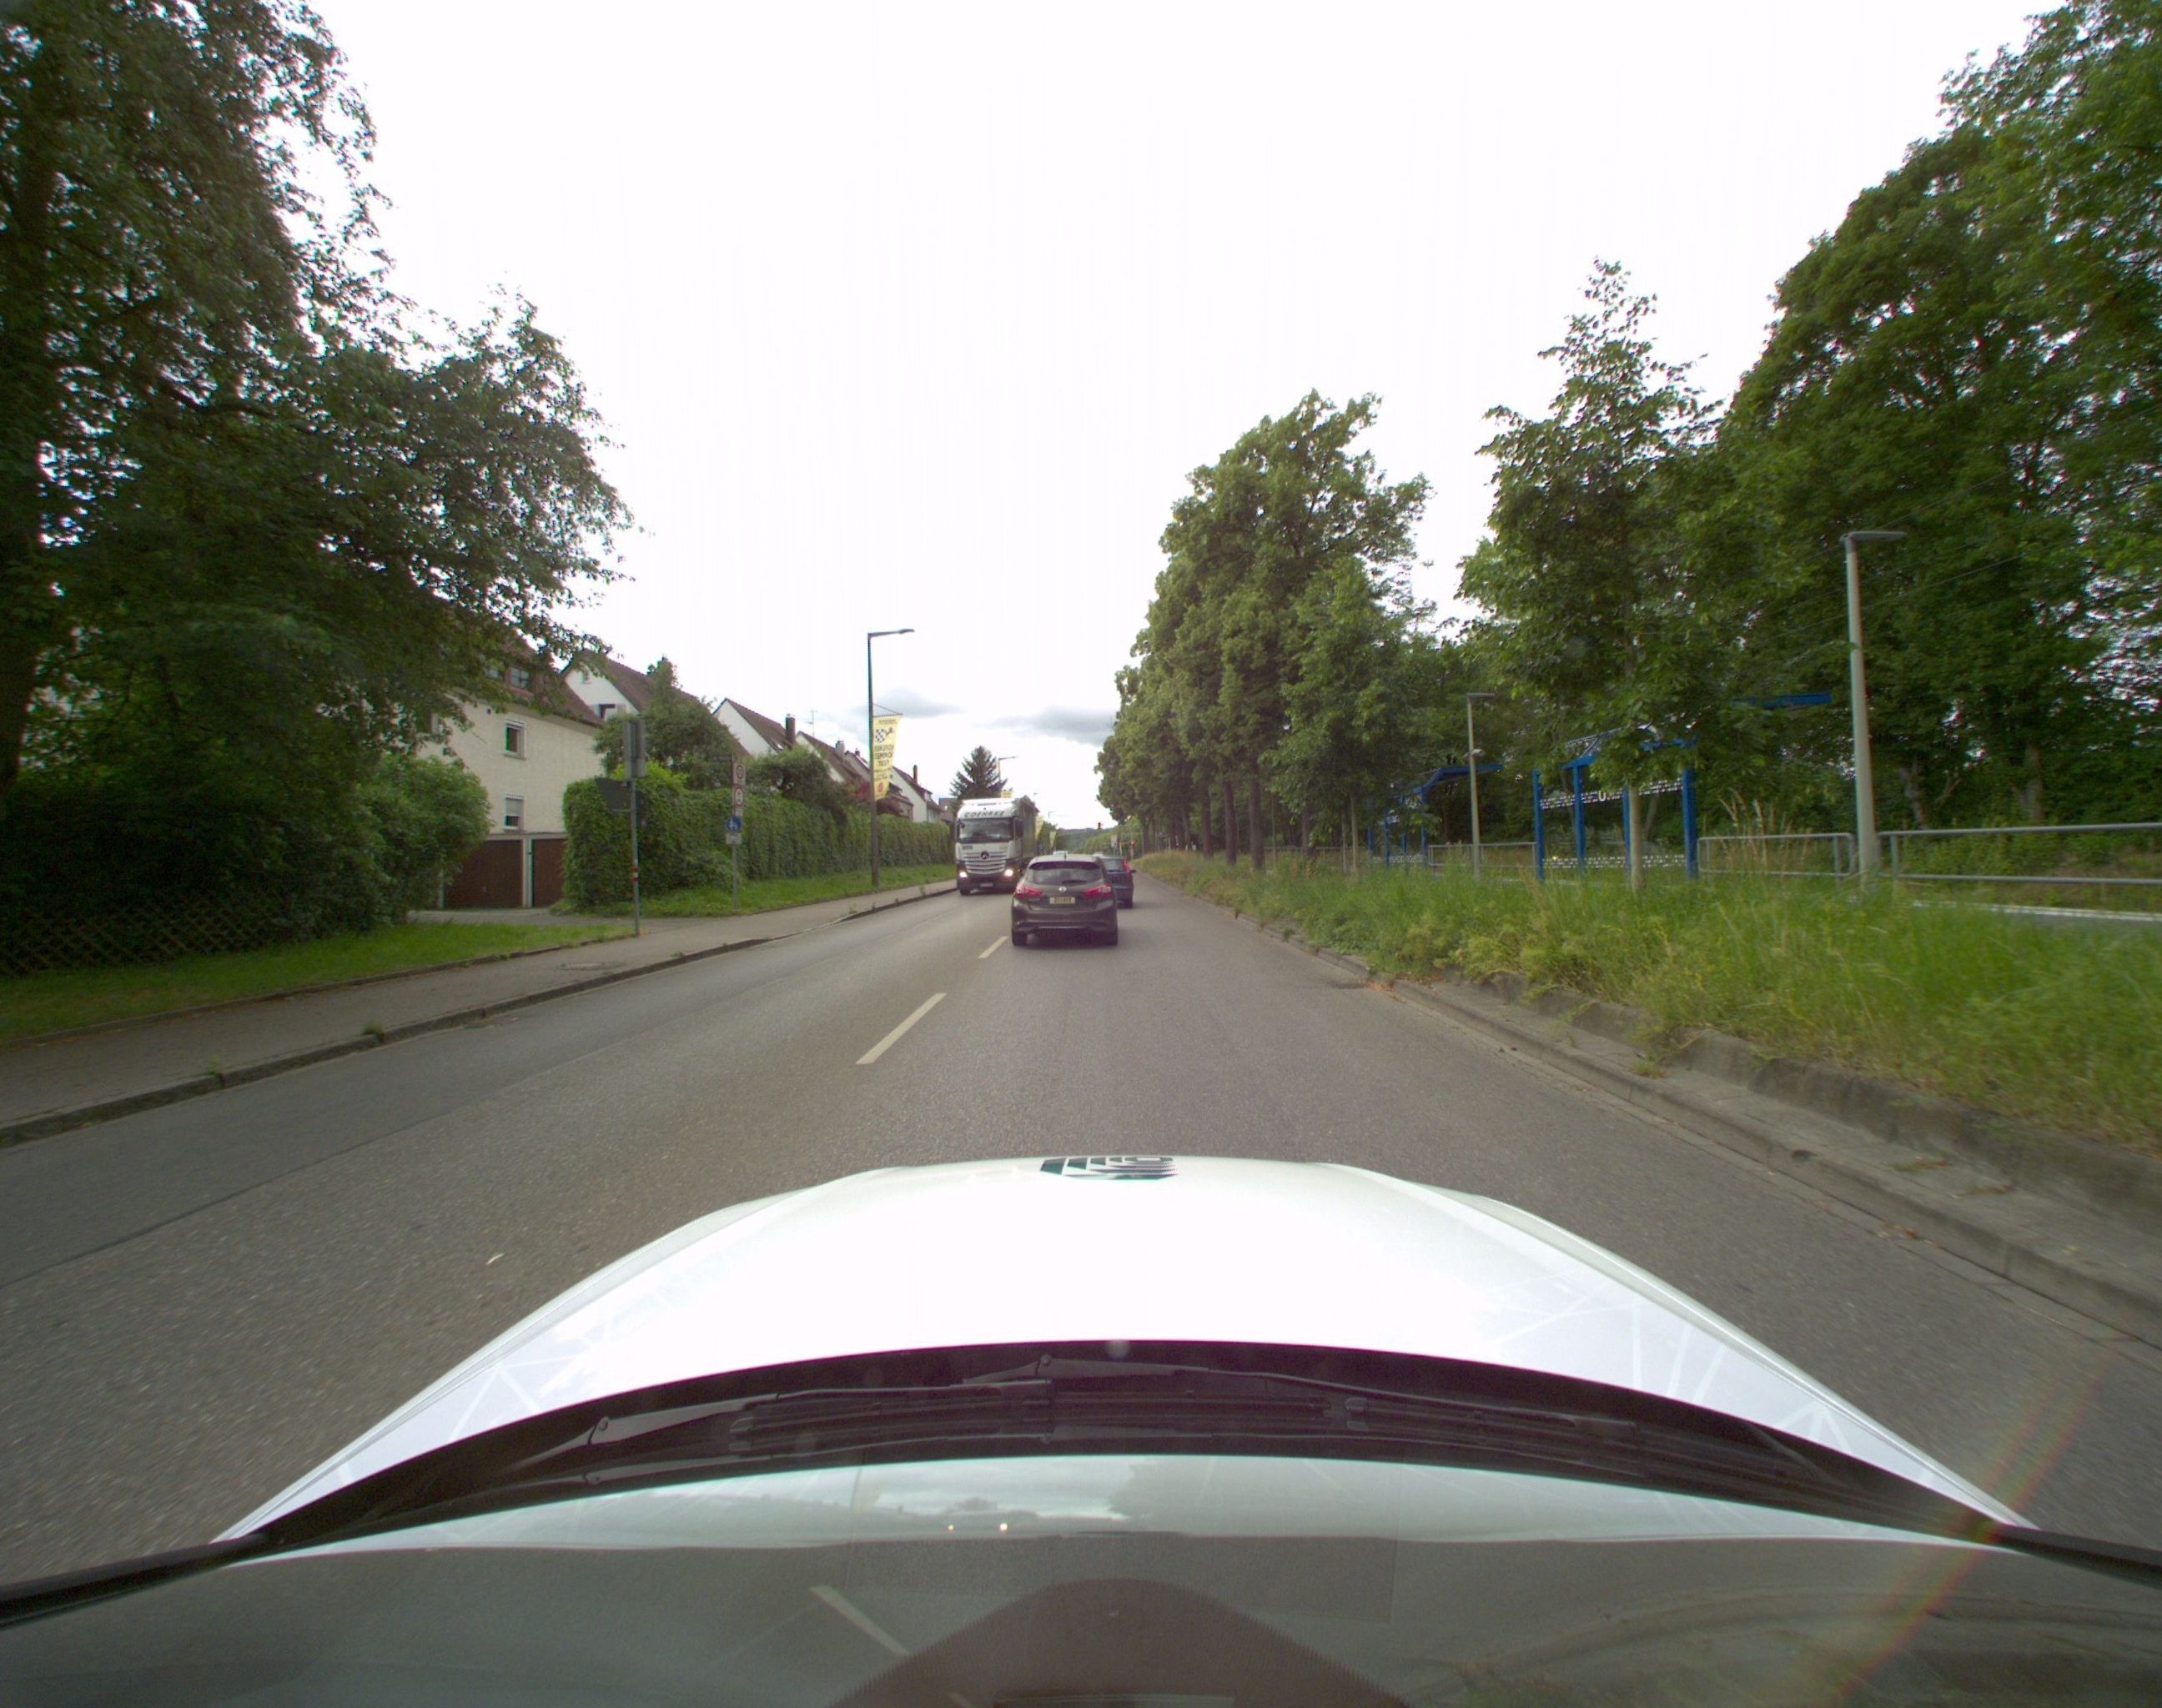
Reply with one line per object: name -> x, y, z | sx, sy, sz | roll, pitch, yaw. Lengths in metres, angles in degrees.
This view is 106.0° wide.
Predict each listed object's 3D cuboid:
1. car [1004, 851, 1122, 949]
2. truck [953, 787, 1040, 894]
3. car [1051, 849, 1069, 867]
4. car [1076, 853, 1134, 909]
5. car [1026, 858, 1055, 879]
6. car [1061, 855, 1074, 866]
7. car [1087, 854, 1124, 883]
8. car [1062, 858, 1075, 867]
car -> -0.227, 0.728, 15.126 | 1.828, 1.519, 4.484 | -1, 0, 1
truck -> -3.591, -0.483, 37.355 | 2.541, 4.043, 10.619 | -3, -1, 0
car -> -2.432, 0.476, 95.896 | 1.901, 1.932, 4.909 | -2, -1, -1
car -> 0.696, 0.737, 24.034 | 1.533, 1.478, 3.765 | -2, 0, 1
car -> -2.919, 1.065, 59.433 | 1.727, 1.375, 4.240 | -3, 0, 1
car -> -1.849, 0.852, 112.319 | 1.645, 1.348, 4.478 | -2, 0, 1
car -> 1.278, 0.738, 42.405 | 1.785, 1.397, 4.001 | -1, 0, 1
car -> -1.963, 1.292, 125.044 | 1.880, 1.383, 4.489 | -3, 0, 0
